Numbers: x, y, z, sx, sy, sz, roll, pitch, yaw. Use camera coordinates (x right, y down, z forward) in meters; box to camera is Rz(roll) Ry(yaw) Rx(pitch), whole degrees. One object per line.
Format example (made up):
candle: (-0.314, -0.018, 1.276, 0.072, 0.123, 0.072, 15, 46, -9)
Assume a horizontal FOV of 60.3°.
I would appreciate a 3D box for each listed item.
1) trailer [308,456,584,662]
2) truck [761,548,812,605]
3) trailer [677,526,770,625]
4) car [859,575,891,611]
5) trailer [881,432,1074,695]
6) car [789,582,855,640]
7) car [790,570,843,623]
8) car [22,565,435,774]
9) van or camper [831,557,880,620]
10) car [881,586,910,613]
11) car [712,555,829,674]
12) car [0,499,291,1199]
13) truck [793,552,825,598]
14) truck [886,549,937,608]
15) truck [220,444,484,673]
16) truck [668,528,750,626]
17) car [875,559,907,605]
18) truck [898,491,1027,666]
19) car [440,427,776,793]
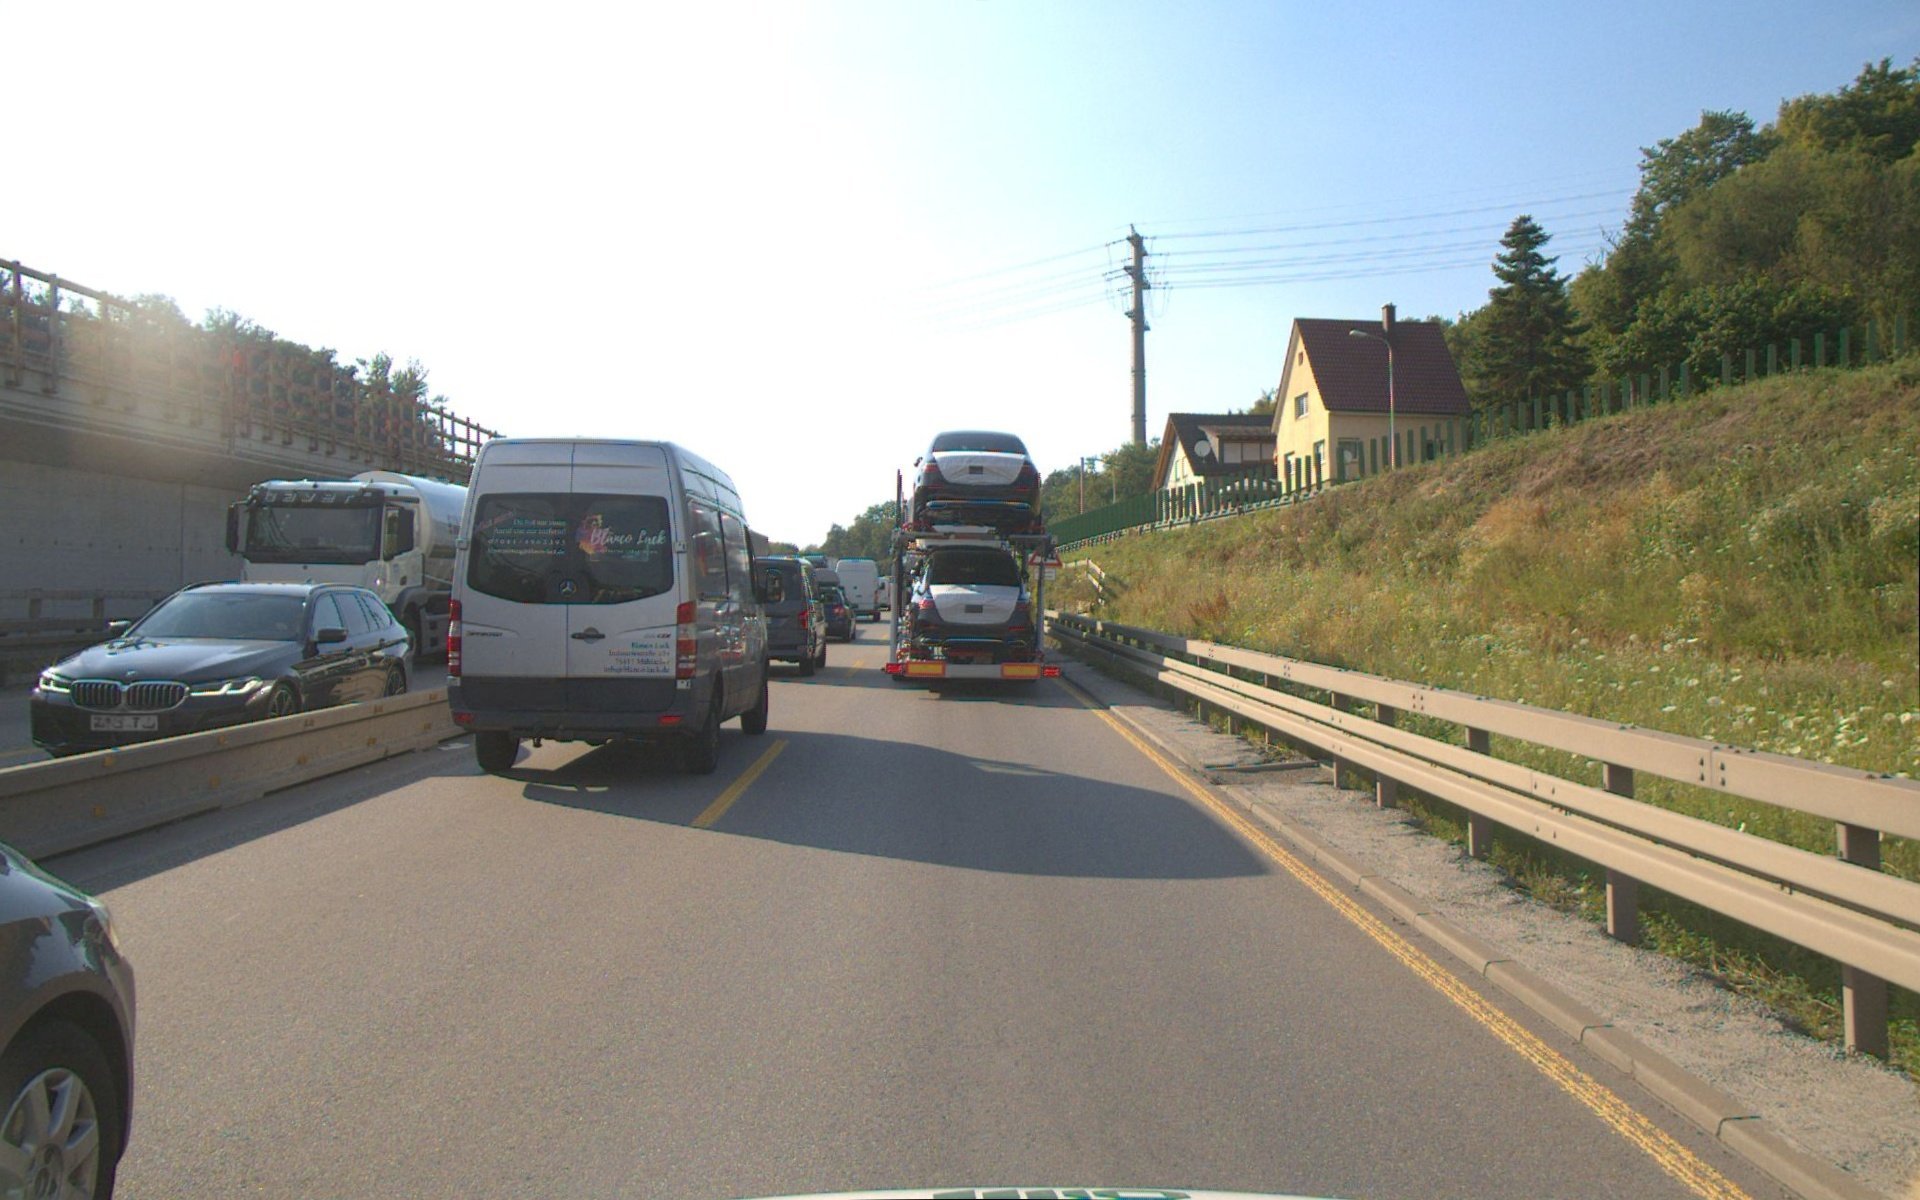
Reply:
trailer: (-10.293, -0.693, 34.565, 2.505, 3.588, 10.679, 1, 0, -1)
truck: (-11.413, -1.484, 109.206, 2.660, 3.484, 8.137, -2, 0, -2)
trailer: (-11.184, -1.026, 79.741, 2.854, 4.314, 13.763, 1, 0, -2)
car: (-5.198, -0.457, 101.399, 1.848, 2.136, 3.764, 1, 0, -2)
trailer: (0.127, -0.479, 30.593, 2.628, 3.596, 15.285, 1, 0, -1)
car: (-3.877, 0.271, 47.061, 1.691, 1.549, 3.971, 1, 1, -3)
car: (-7.305, -0.134, 84.569, 2.422, 2.578, 3.998, 2, -1, -2)
car: (-6.398, 0.552, 15.155, 1.730, 1.579, 4.834, 1, 0, -2)
van or camper: (-4.530, -0.469, 72.537, 1.928, 2.637, 5.039, 1, 0, -2)
car: (-4.744, -0.035, 122.103, 1.953, 1.892, 3.999, 0, 0, -1)
car: (-3.301, 0.267, 29.485, 1.772, 1.937, 3.997, 1, -1, -3)
car: (-2.485, 0.620, 2.048, 1.646, 1.616, 4.270, 0, -1, -1)
truck: (-14.564, -2.391, 160.311, 2.572, 4.184, 9.622, -2, 1, -3)
truck: (-4.005, -1.778, 138.718, 3.982, 4.761, 10.591, 0, 0, 0)
truck: (-10.138, -0.625, 28.194, 2.497, 3.469, 5.529, 1, 0, -1)
truck: (-10.983, -0.949, 72.836, 2.803, 4.078, 5.656, 1, 0, -2)
car: (-7.890, -2.044, 188.782, 3.377, 5.123, 9.646, 1, 0, -4)
truck: (-0.009, -0.435, 38.046, 2.628, 3.596, 7.192, 1, 0, -1)
car: (-2.906, 0.038, 15.002, 1.953, 2.694, 5.529, 0, 1, -1)
